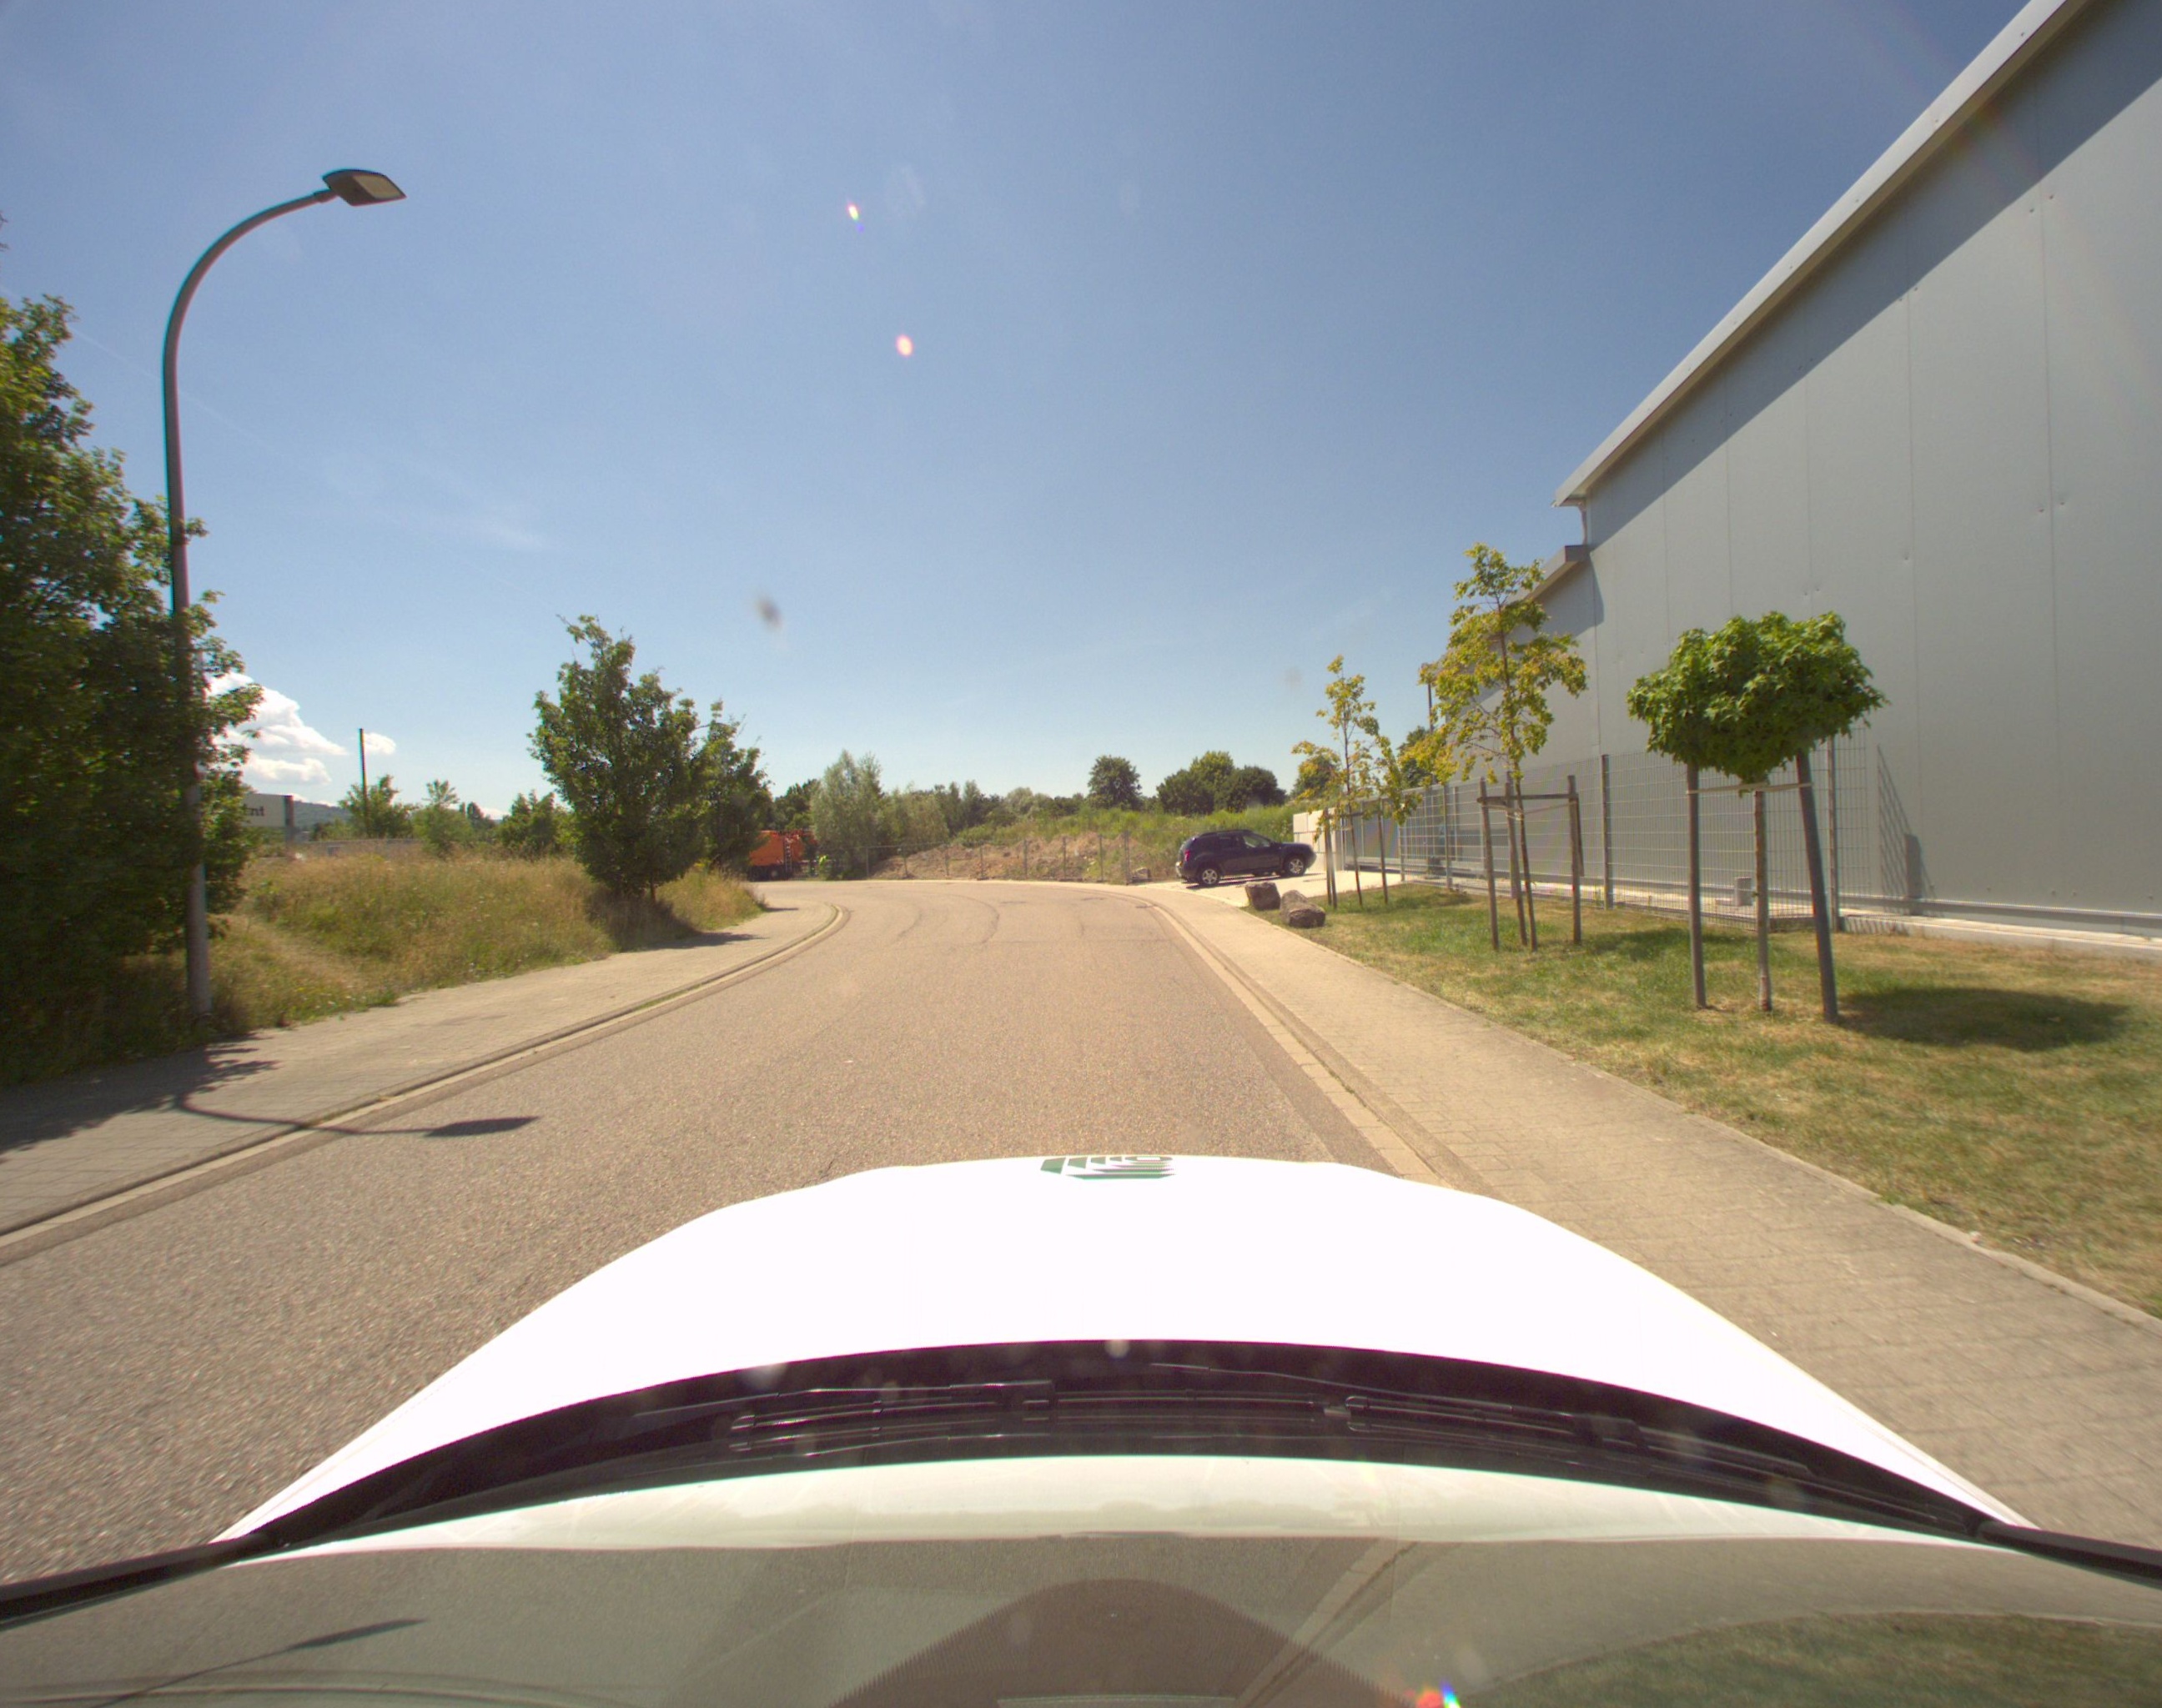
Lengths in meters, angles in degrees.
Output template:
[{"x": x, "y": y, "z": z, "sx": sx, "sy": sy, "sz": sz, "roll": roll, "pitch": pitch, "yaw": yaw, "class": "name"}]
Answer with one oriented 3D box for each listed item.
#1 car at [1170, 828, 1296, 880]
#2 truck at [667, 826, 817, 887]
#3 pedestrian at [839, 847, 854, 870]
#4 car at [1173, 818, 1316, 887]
[{"x": 5.239, "y": -0.014, "z": 28.458, "sx": 3.997, "sy": 1.462, "sz": 1.892, "roll": -4, "pitch": 0, "yaw": 0, "class": "car"}, {"x": -23.479, "y": 0.134, "z": 56.944, "sx": 8.562, "sy": 3.806, "sz": 4.161, "roll": -2, "pitch": 0, "yaw": -3, "class": "truck"}, {"x": -18.509, "y": 0.345, "z": 64.259, "sx": 0.873, "sy": 1.825, "sz": 0.740, "roll": -1, "pitch": 0, "yaw": -1, "class": "pedestrian"}, {"x": 5.083, "y": -0.042, "z": 25.732, "sx": 3.997, "sy": 1.655, "sz": 1.858, "roll": -6, "pitch": 0, "yaw": 0, "class": "car"}]
